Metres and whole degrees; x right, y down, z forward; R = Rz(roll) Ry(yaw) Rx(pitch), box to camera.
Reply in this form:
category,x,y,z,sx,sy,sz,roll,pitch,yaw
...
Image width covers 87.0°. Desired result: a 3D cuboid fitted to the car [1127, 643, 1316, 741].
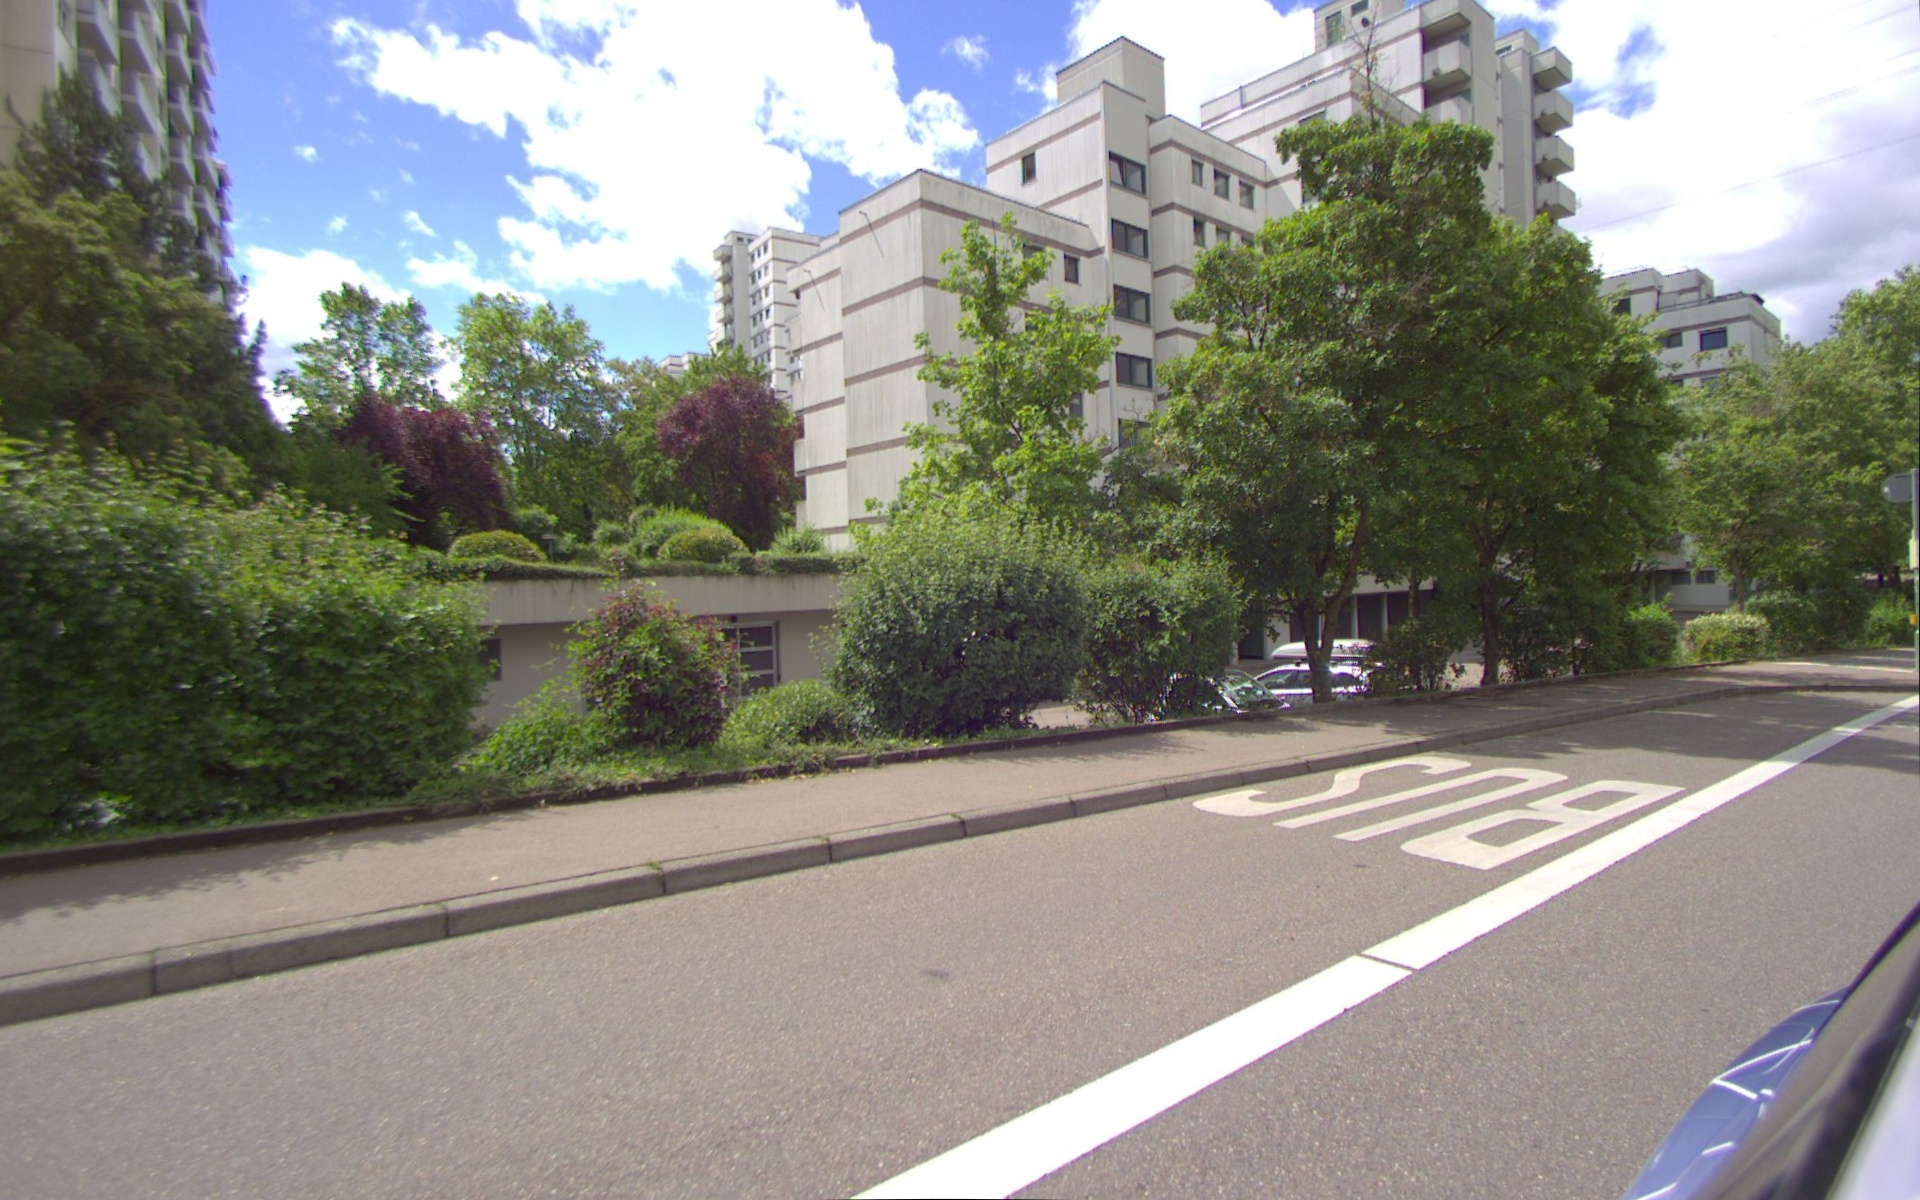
category,x,y,z,sx,sy,sz,roll,pitch,yaw
car,4.767,1.624,18.683,1.692,1.488,2.963,0,0,-38

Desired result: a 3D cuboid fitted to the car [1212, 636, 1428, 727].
category,x,y,z,sx,sy,sz,roll,pitch,yaw
car,6.996,1.522,19.977,1.536,1.450,3.761,-2,1,-38

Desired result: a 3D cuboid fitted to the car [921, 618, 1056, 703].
category,x,y,z,sx,sy,sz,roll,pitch,yaw
car,0.726,1.596,28.222,1.757,1.915,4.002,-2,3,-34
